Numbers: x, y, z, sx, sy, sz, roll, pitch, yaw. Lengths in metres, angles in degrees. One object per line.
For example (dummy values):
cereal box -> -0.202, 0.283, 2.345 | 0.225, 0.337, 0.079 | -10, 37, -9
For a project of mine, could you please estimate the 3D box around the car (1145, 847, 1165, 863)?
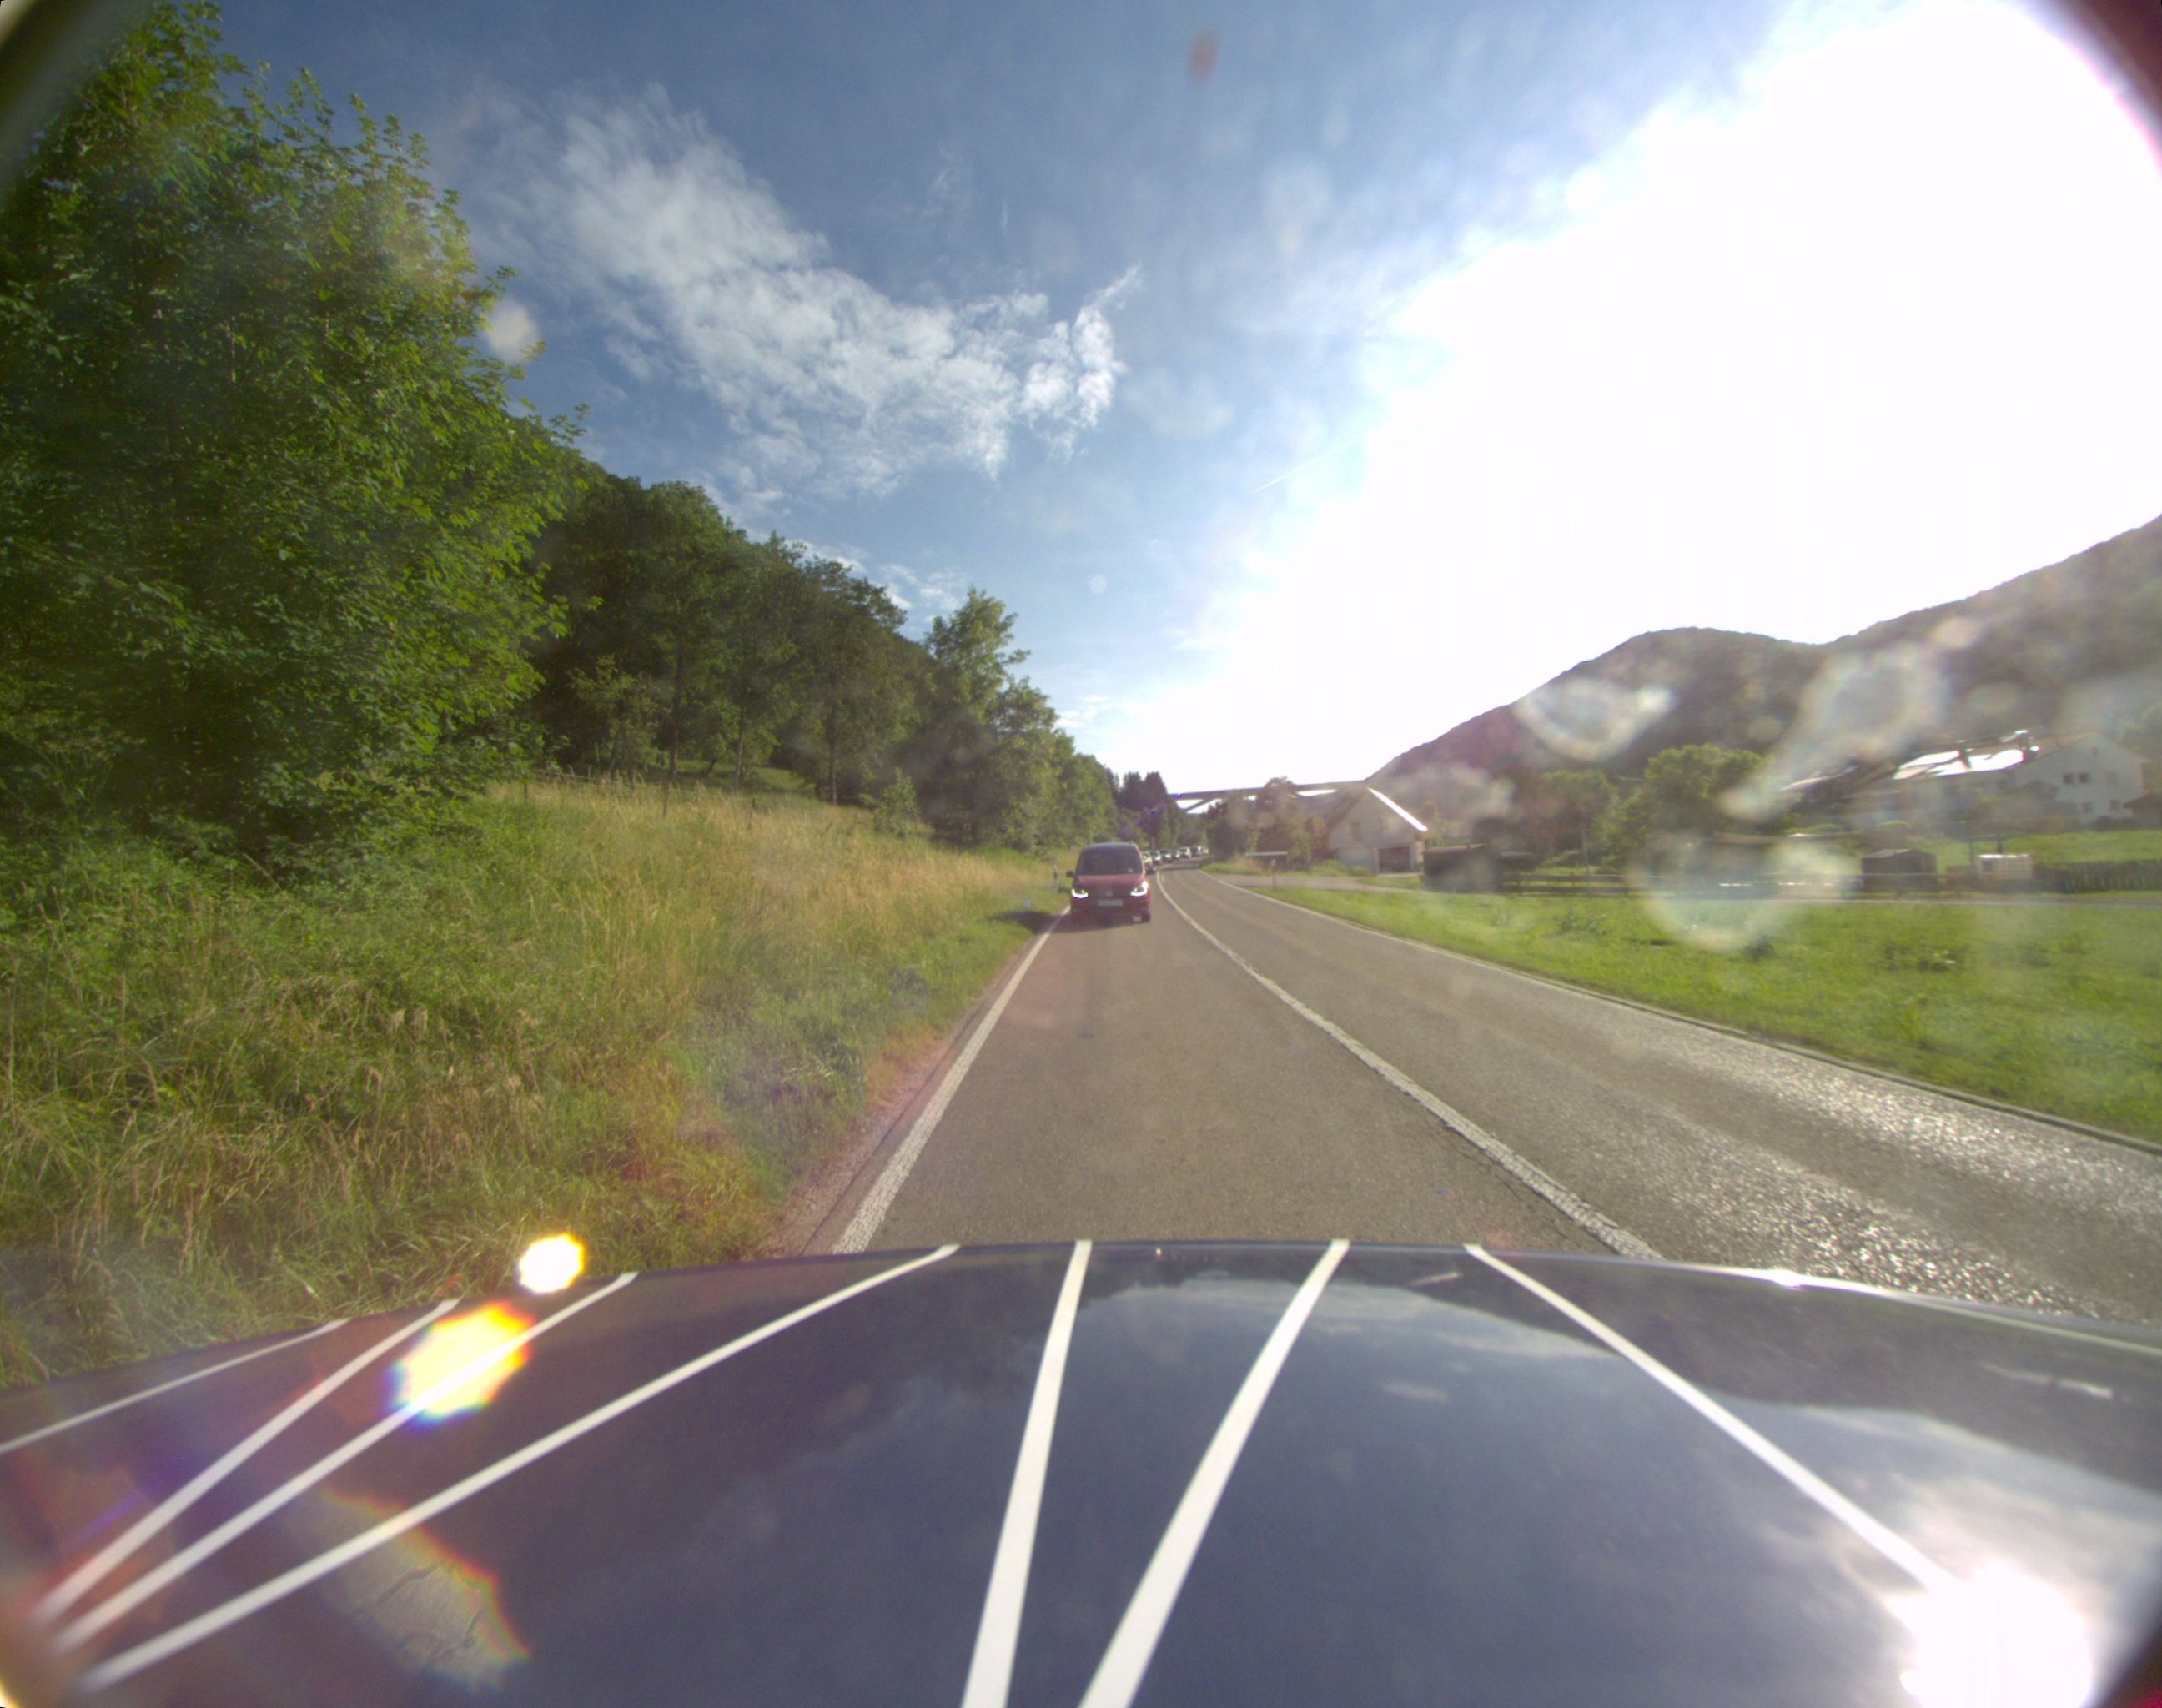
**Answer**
car -> 7.163, 0.096, 73.946 | 1.630, 1.470, 3.679 | -2, 1, 1

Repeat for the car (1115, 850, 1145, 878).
car -> 2.870, 0.530, 44.404 | 1.629, 1.470, 3.680 | -2, 1, 5

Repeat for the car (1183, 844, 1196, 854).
car -> 16.753, -0.718, 117.606 | 1.629, 1.470, 3.680 | -2, 1, 4

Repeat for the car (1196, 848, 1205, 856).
car -> 23.123, -0.339, 146.965 | 1.629, 1.470, 3.681 | -2, 1, 8

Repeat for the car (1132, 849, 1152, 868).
car -> 5.232, 0.335, 65.153 | 1.629, 1.470, 3.680 | -2, 1, 5

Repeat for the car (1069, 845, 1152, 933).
car -> 0.643, 0.697, 17.600 | 1.649, 1.762, 3.999 | -2, 1, 1

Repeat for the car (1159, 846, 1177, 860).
car -> 9.952, -0.167, 86.928 | 1.630, 1.470, 3.679 | -2, 1, 1
